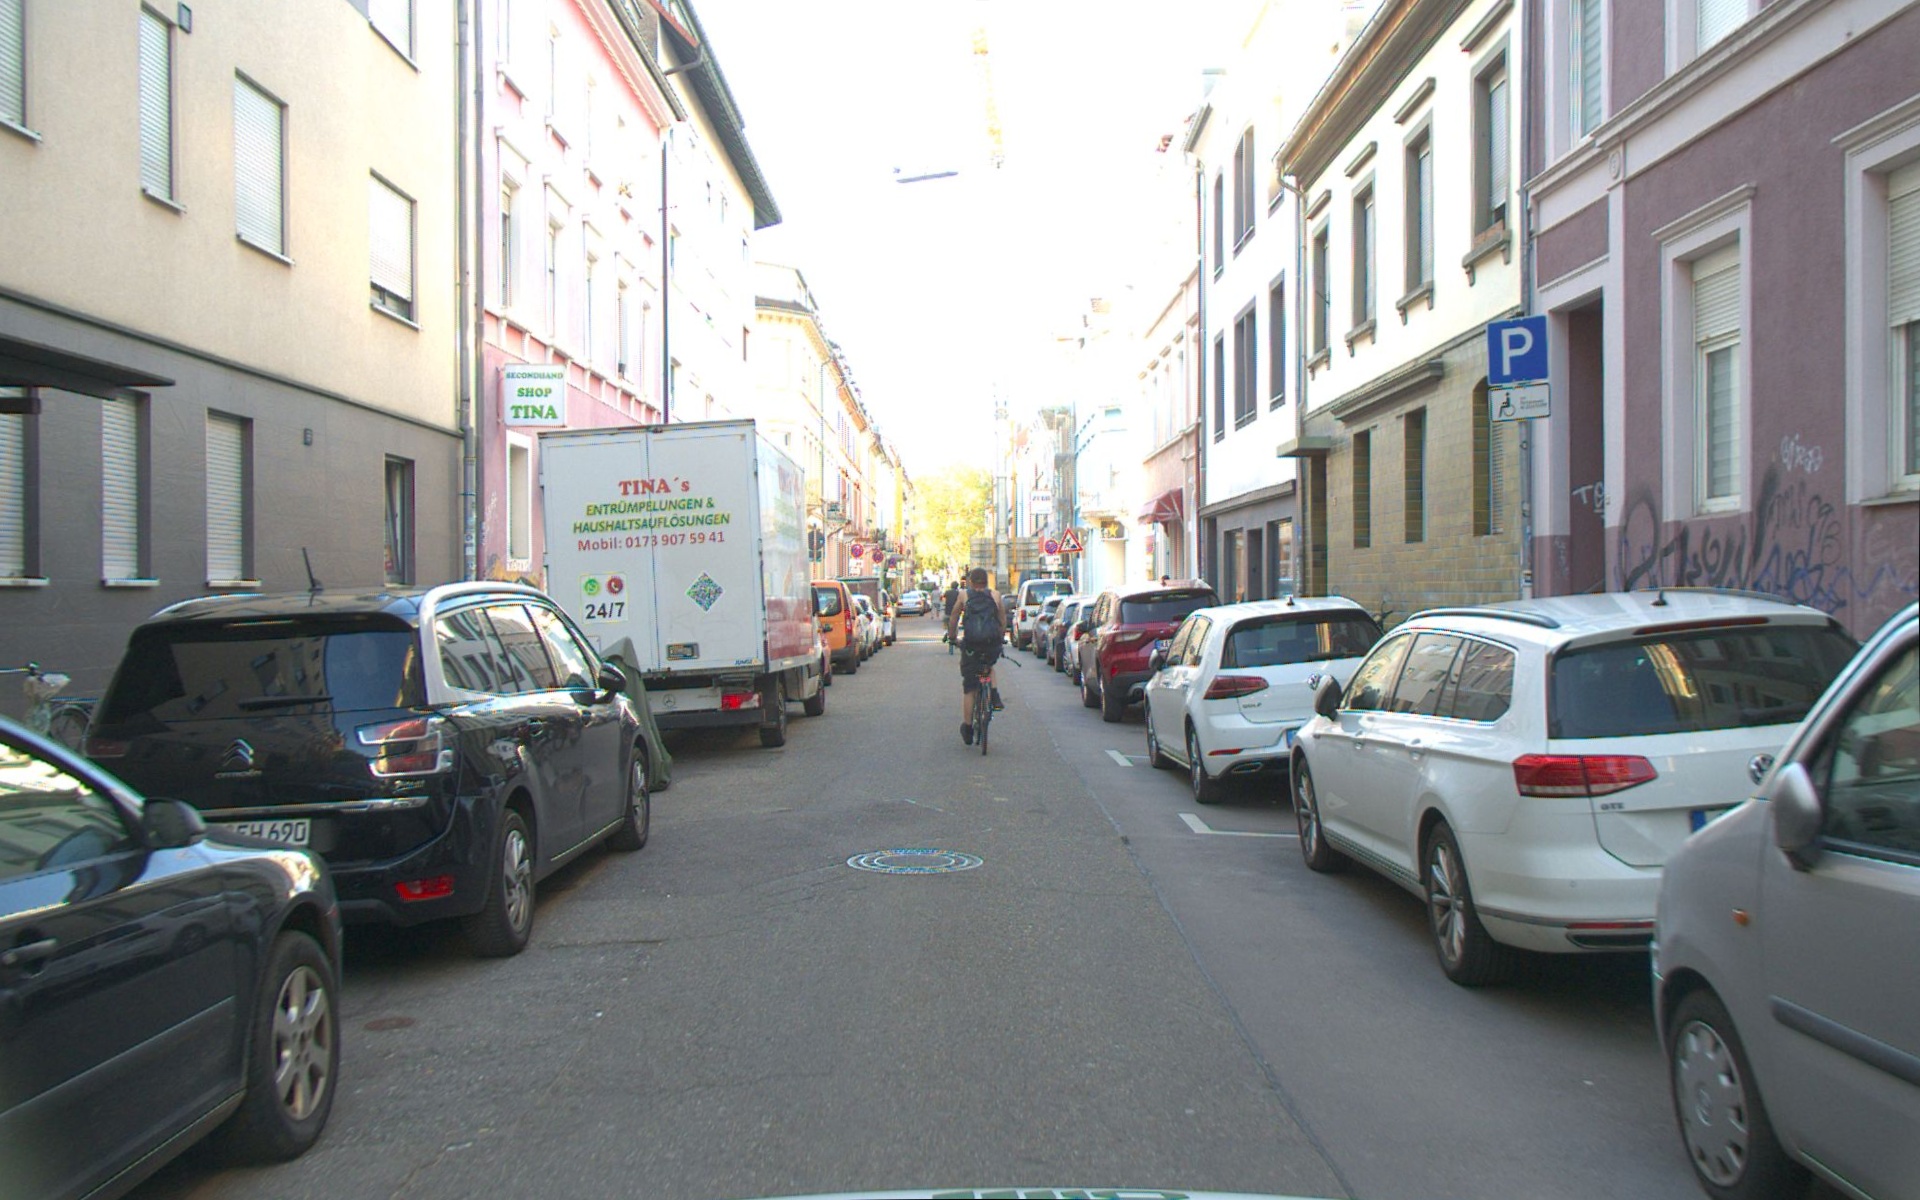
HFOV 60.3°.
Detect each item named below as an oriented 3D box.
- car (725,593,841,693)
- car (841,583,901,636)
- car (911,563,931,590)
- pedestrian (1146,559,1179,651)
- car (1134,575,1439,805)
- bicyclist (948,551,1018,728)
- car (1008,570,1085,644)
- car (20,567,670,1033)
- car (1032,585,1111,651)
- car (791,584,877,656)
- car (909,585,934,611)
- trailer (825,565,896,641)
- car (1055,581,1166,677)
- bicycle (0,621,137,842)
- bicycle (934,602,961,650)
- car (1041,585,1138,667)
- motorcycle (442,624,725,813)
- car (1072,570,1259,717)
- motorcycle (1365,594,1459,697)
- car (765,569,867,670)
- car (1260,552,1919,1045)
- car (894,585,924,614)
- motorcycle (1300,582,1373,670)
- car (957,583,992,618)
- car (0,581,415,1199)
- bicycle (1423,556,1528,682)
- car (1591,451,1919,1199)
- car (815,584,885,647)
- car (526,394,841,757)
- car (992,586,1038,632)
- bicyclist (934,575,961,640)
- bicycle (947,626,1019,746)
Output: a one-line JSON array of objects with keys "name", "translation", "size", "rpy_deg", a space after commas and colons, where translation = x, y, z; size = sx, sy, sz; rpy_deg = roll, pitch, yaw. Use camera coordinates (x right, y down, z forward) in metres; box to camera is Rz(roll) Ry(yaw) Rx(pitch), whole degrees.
[{"name": "car", "translation": [-2.952, 0.691, 28.155], "size": [1.546, 1.509, 3.564], "rpy_deg": [-3, 0, -1]}, {"name": "car", "translation": [-2.816, 0.285, 53.034], "size": [1.714, 1.600, 3.795], "rpy_deg": [-1, 0, -1]}, {"name": "car", "translation": [-3.483, -2.096, 149.652], "size": [1.714, 2.358, 3.795], "rpy_deg": [-1, 0, -1]}, {"name": "pedestrian", "translation": [4.560, 0.114, 37.306], "size": [0.631, 2.049, 0.763], "rpy_deg": [1, 0, -1]}, {"name": "car", "translation": [2.544, 0.644, 13.838], "size": [1.652, 1.570, 4.045], "rpy_deg": [-2, 0, -1]}, {"name": "bicyclist", "translation": [0.218, 0.386, 16.581], "size": [0.654, 1.706, 1.097], "rpy_deg": [1, 0, -1]}, {"name": "car", "translation": [2.336, 0.181, 45.553], "size": [1.715, 1.911, 3.970], "rpy_deg": [-1, 0, -3]}, {"name": "car", "translation": [-2.710, 0.718, 8.425], "size": [1.682, 1.679, 4.245], "rpy_deg": [-3, 1, -1]}, {"name": "car", "translation": [2.684, 0.423, 40.492], "size": [1.714, 1.513, 3.800], "rpy_deg": [-1, 0, 1]}, {"name": "car", "translation": [-2.920, 0.442, 39.069], "size": [1.714, 1.564, 4.318], "rpy_deg": [-1, 0, -1]}, {"name": "car", "translation": [-2.788, -0.129, 119.581], "size": [1.714, 1.853, 3.795], "rpy_deg": [-1, 0, -1]}, {"name": "trailer", "translation": [-2.898, 0.090, 48.782], "size": [1.843, 2.129, 3.736], "rpy_deg": [-1, 0, -1]}, {"name": "car", "translation": [2.658, 0.487, 29.966], "size": [1.632, 1.531, 3.816], "rpy_deg": [-3, 0, 1]}, {"name": "bicycle", "translation": [-5.531, 0.745, 9.673], "size": [0.480, 1.185, 1.773], "rpy_deg": [-2, 0, 1]}, {"name": "bicycle", "translation": [-0.311, 0.641, 41.212], "size": [0.635, 1.149, 2.135], "rpy_deg": [1, 0, -1]}, {"name": "car", "translation": [2.662, 0.512, 34.730], "size": [1.613, 1.500, 3.970], "rpy_deg": [-4, 0, 0]}, {"name": "motorcycle", "translation": [-2.921, 0.879, 13.037], "size": [0.777, 1.275, 2.096], "rpy_deg": [-2, 1, 41]}, {"name": "car", "translation": [2.593, 0.505, 21.823], "size": [1.879, 1.735, 4.365], "rpy_deg": [0, 0, -1]}, {"name": "motorcycle", "translation": [5.245, 0.506, 19.299], "size": [0.547, 1.114, 1.776], "rpy_deg": [-3, 0, -1]}, {"name": "car", "translation": [-2.850, 0.369, 33.469], "size": [1.717, 1.848, 4.077], "rpy_deg": [-2, 0, -1]}, {"name": "car", "translation": [2.716, 0.646, 7.770], "size": [1.662, 1.570, 4.628], "rpy_deg": [-2, 0, -1]}, {"name": "car", "translation": [-3.136, -0.013, 102.038], "size": [1.714, 1.713, 3.795], "rpy_deg": [-1, 0, -1]}, {"name": "motorcycle", "translation": [5.089, 0.338, 22.449], "size": [0.491, 1.114, 1.878], "rpy_deg": [-3, 0, -1]}, {"name": "car", "translation": [0.681, 0.026, 79.038], "size": [1.578, 1.587, 3.610], "rpy_deg": [1, 0, -1]}, {"name": "car", "translation": [-2.594, 0.785, 3.024], "size": [1.682, 1.504, 4.498], "rpy_deg": [-3, 1, -1]}, {"name": "bicycle", "translation": [5.175, 0.183, 16.676], "size": [0.510, 1.194, 1.685], "rpy_deg": [1, 0, -1]}, {"name": "car", "translation": [2.624, 0.591, 3.041], "size": [1.525, 1.742, 3.558], "rpy_deg": [1, 0, -1]}, {"name": "car", "translation": [-2.904, 0.402, 44.117], "size": [1.620, 1.564, 3.634], "rpy_deg": [-1, 0, -1]}, {"name": "car", "translation": [-2.882, -0.233, 19.270], "size": [2.295, 3.349, 7.154], "rpy_deg": [-2, 0, 0]}, {"name": "car", "translation": [2.059, 0.335, 62.822], "size": [1.578, 1.662, 3.610], "rpy_deg": [1, 0, -1]}, {"name": "bicyclist", "translation": [-0.315, 0.194, 41.218], "size": [0.657, 1.594, 0.716], "rpy_deg": [1, 0, -1]}, {"name": "bicycle", "translation": [0.210, 0.831, 16.618], "size": [0.663, 1.093, 1.941], "rpy_deg": [1, 0, -1]}]
